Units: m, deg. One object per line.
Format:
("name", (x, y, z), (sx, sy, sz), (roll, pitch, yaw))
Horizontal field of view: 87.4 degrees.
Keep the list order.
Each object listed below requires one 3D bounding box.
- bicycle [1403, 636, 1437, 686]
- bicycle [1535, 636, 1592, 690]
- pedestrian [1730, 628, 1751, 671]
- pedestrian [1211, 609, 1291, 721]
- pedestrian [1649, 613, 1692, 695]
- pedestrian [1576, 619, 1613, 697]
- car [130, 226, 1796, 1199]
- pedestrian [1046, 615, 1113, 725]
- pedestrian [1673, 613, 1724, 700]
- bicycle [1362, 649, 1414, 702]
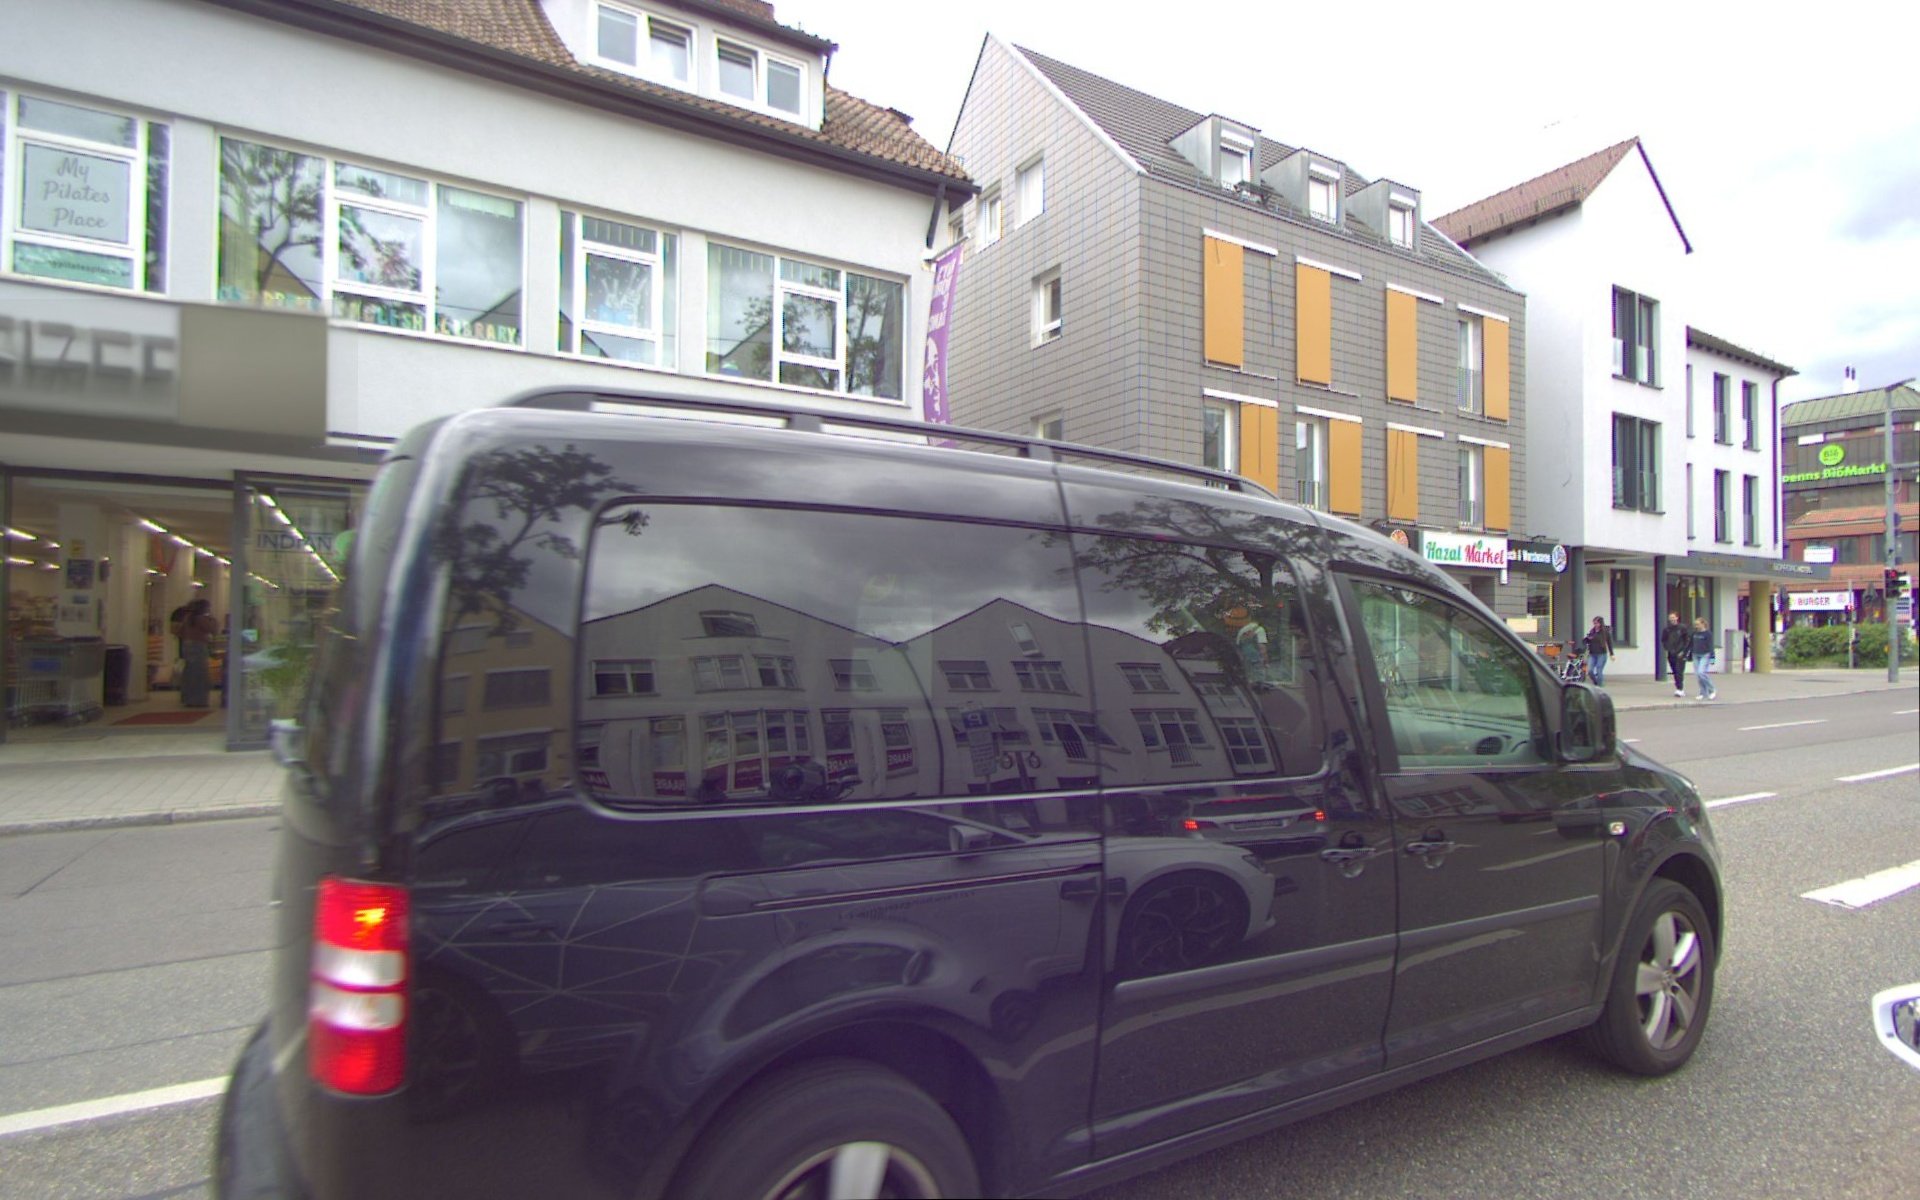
("bicycle", (10.782, 1.415, 23.569), (0.380, 1.142, 1.291), (0, -1, 10))
("bicycle", (13.987, 1.434, 23.268), (1.806, 1.202, 0.384), (1, -2, -34))
("pedestrian", (30.827, 1.942, 39.676), (0.654, 1.671, 0.790), (-1, -1, 39))
("pedestrian", (4.714, 1.023, 16.278), (0.969, 1.728, 0.750), (1, 2, -30))
("pedestrian", (15.830, 1.191, 22.381), (0.639, 1.799, 0.565), (1, -1, -32))
("pedestrian", (13.804, 1.250, 21.844), (0.643, 1.672, 0.557), (-1, -1, 36))
("car", (0.554, 0.535, 3.114), (4.581, 1.880, 1.735), (1, 0, -31))
("pedestrian", (1.829, 1.050, 15.407), (0.744, 1.631, 0.725), (1, -1, -30))
("pedestrian", (15.813, 1.201, 21.511), (0.641, 1.814, 0.679), (1, -1, -30))
("bicycle", (8.321, 1.454, 19.519), (1.472, 0.966, 0.323), (1, -2, -42))
